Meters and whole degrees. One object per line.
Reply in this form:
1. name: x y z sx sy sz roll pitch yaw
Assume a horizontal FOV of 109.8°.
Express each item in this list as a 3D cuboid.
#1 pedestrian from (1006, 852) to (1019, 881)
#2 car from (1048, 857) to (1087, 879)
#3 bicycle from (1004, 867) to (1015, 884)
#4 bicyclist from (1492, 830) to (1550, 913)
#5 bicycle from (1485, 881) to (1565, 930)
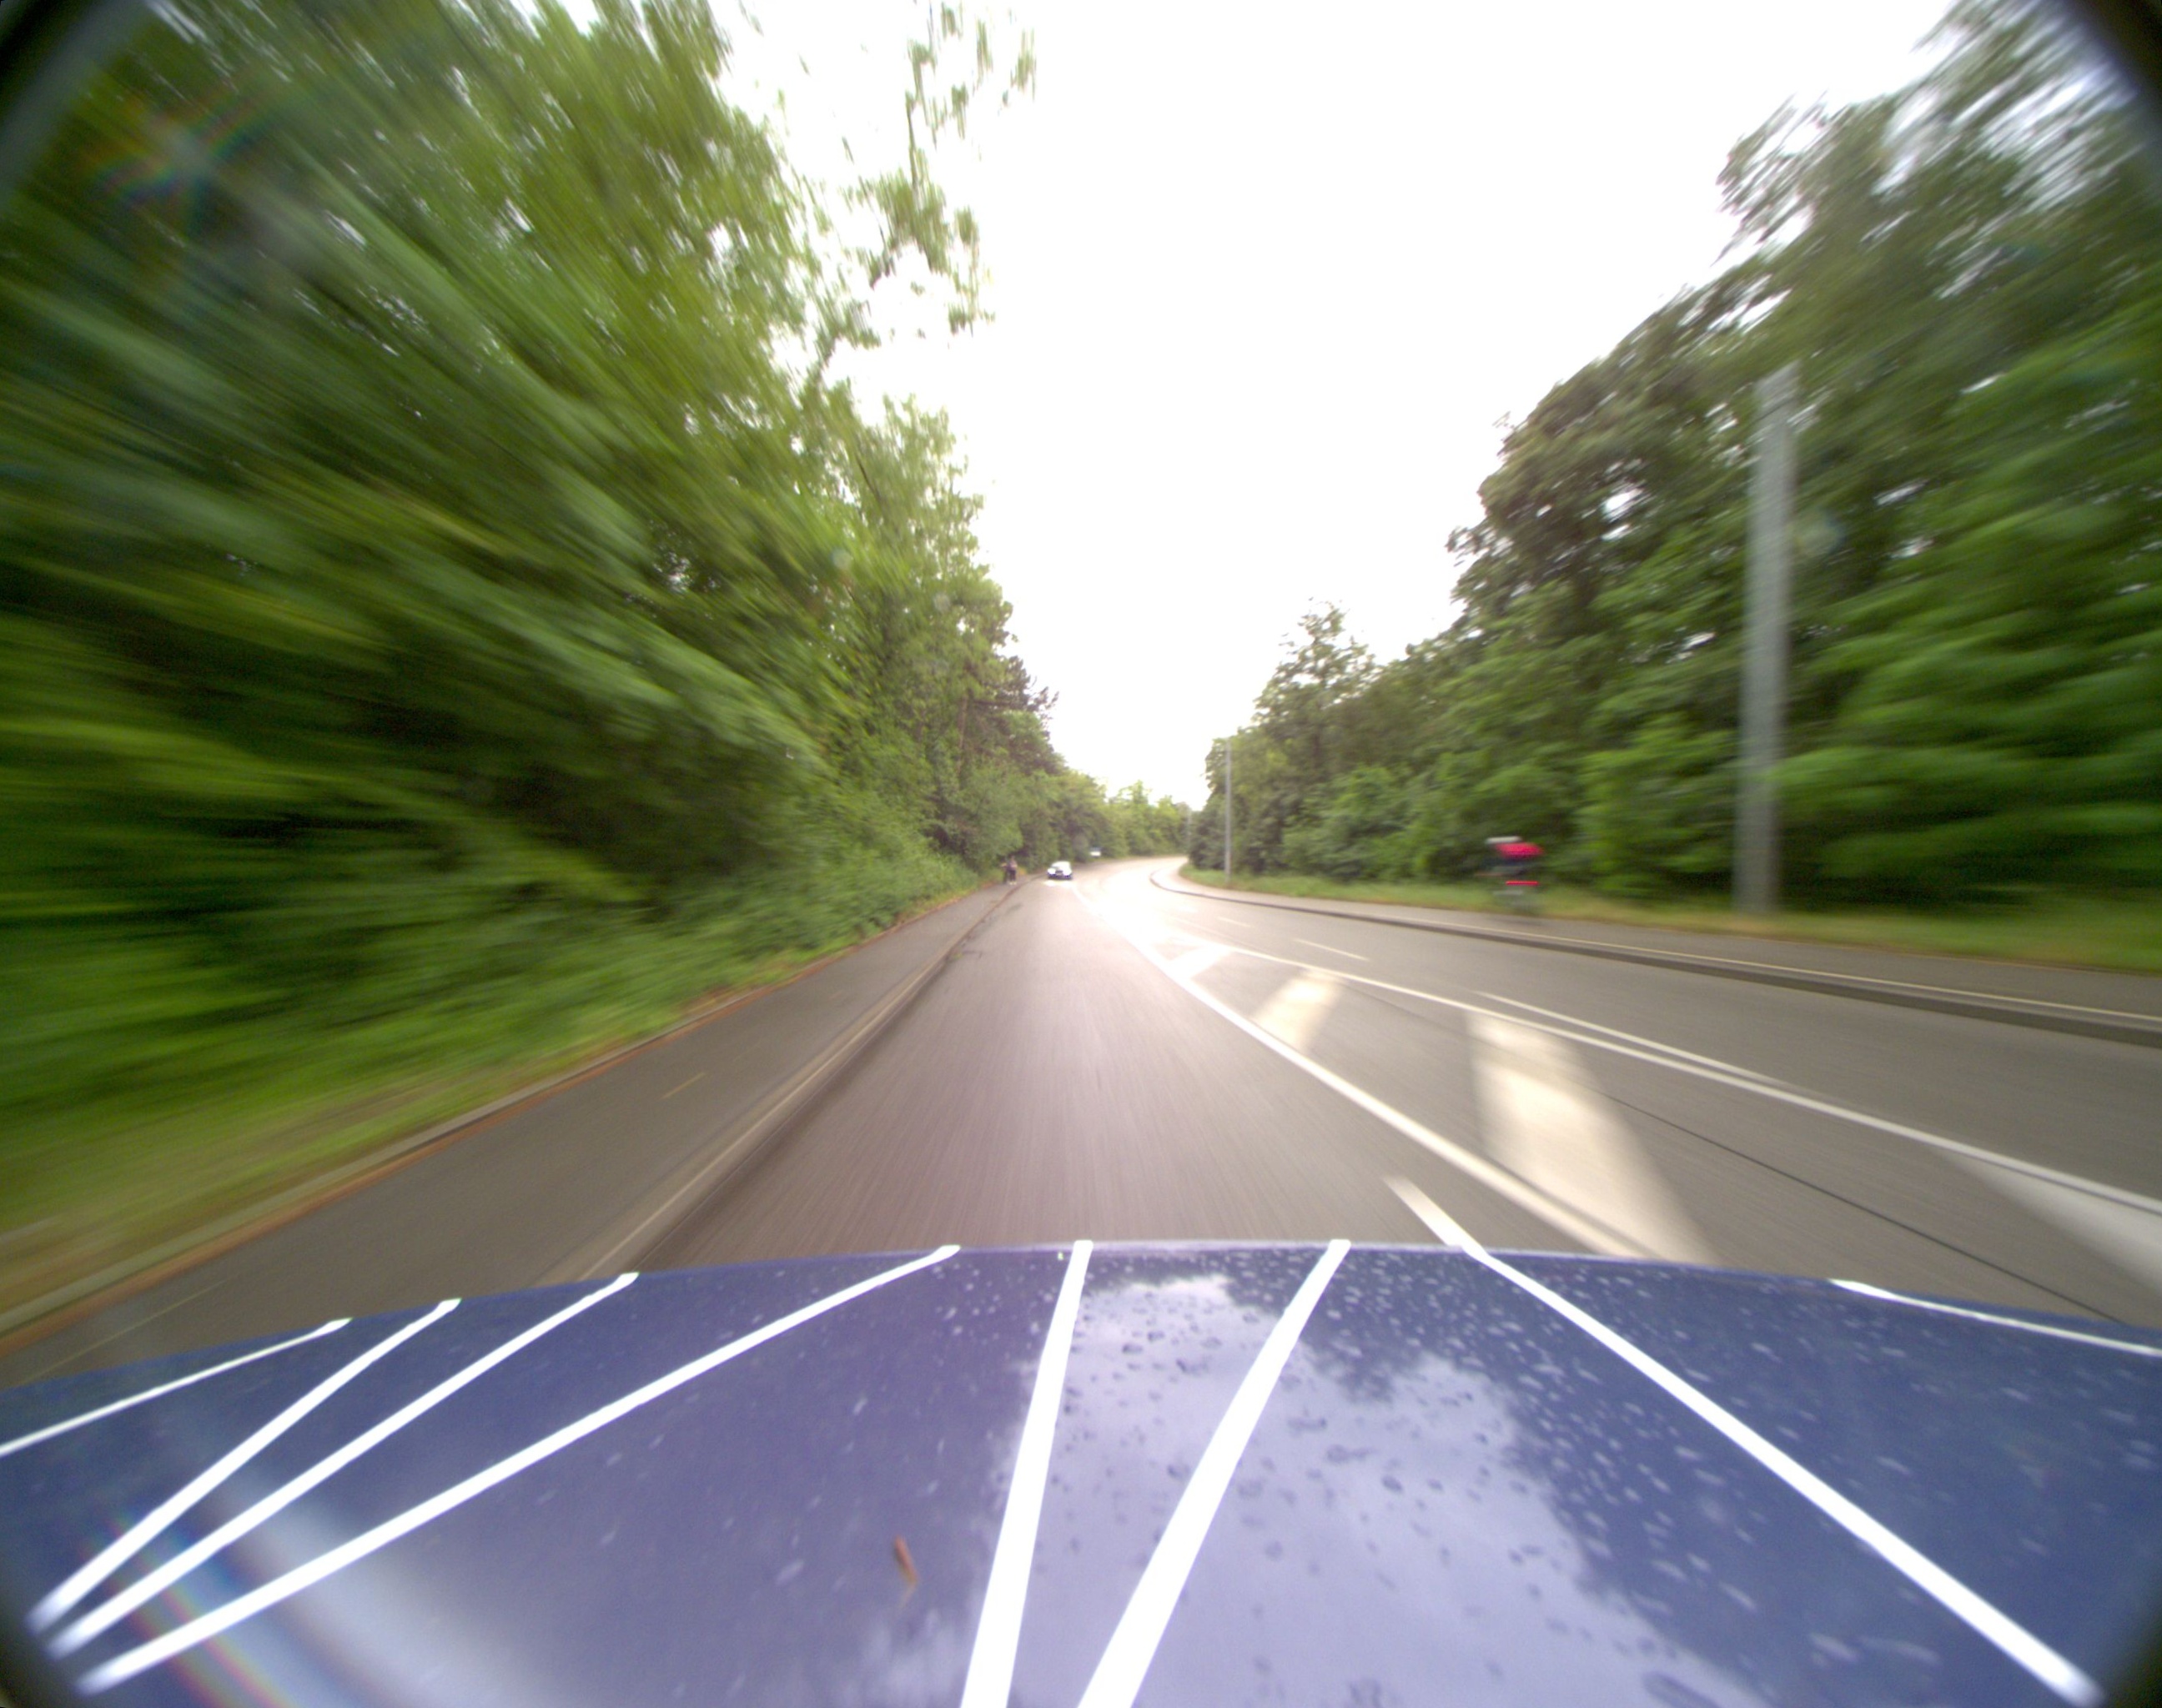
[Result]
1. pedestrian: -3.882 0.705 43.121 0.565 1.568 0.769 3 4 1
2. car: -1.044 1.082 60.697 1.829 1.512 4.005 6 2 16
3. bicycle: -4.055 1.223 43.285 0.356 0.844 1.742 5 2 1
4. bicyclist: 8.658 0.342 14.983 0.337 1.565 1.298 -2 -1 0
5. bicycle: 8.682 0.984 14.956 0.356 0.844 2.093 -2 -1 1
